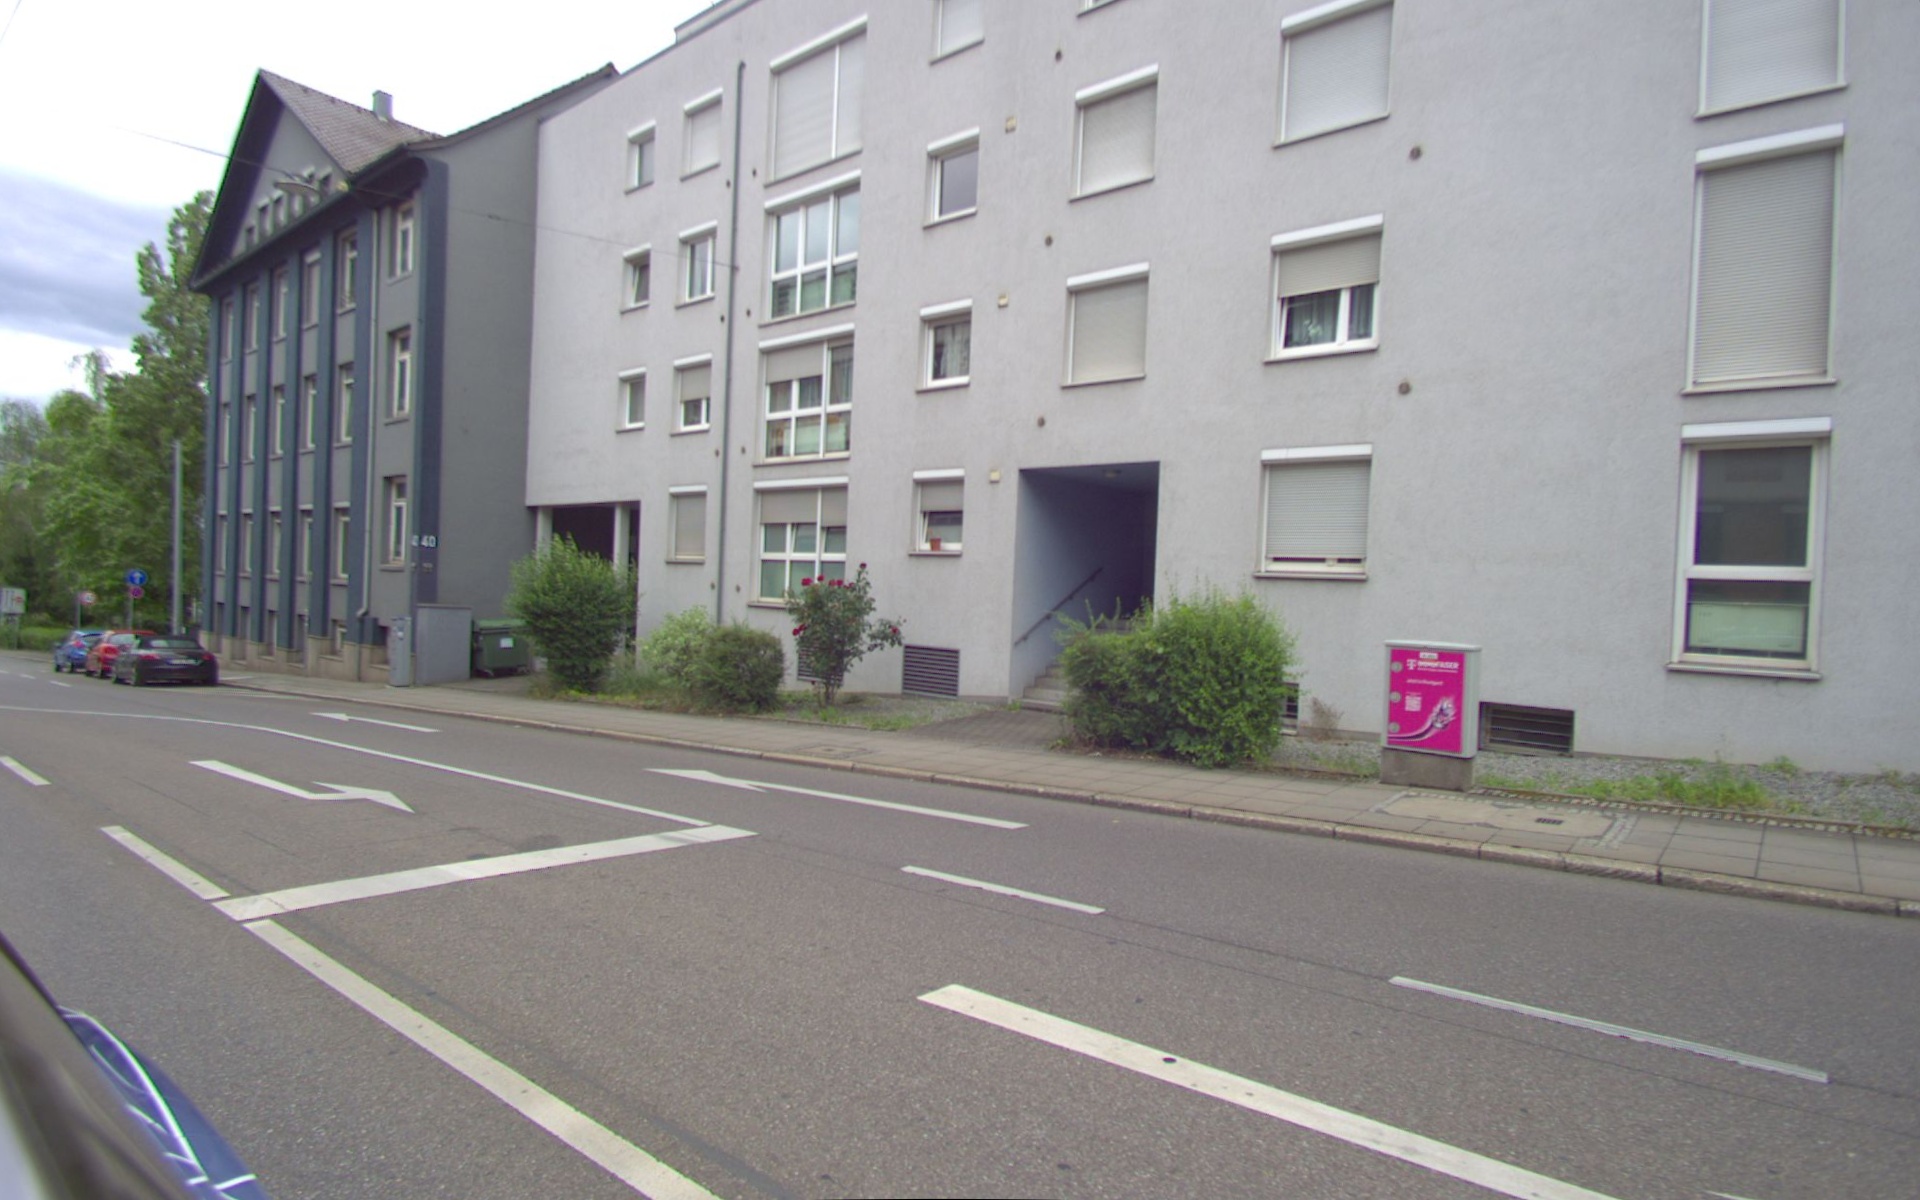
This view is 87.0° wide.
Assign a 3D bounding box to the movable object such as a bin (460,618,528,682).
[{"bbox_3d":[-11.526,1.210,25.032,1.039,1.518,1.213,-1,0,41],"label":"movable object such as a bin"}]

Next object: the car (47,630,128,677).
[{"bbox_3d":[-30.203,1.813,34.999,3.727,1.460,1.623,-1,0,41],"label":"car"}]

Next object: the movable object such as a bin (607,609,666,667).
[{"bbox_3d":[-8.287,0.966,25.950,1.078,1.427,1.026,-1,0,41],"label":"movable object such as a bin"}]

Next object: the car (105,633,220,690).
[{"bbox_3d":[-21.560,1.599,27.322,3.727,1.403,1.778,-1,-2,41],"label":"car"}]

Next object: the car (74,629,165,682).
[{"bbox_3d":[-26.116,1.678,31.416,3.727,1.460,1.623,-1,0,41],"label":"car"}]
